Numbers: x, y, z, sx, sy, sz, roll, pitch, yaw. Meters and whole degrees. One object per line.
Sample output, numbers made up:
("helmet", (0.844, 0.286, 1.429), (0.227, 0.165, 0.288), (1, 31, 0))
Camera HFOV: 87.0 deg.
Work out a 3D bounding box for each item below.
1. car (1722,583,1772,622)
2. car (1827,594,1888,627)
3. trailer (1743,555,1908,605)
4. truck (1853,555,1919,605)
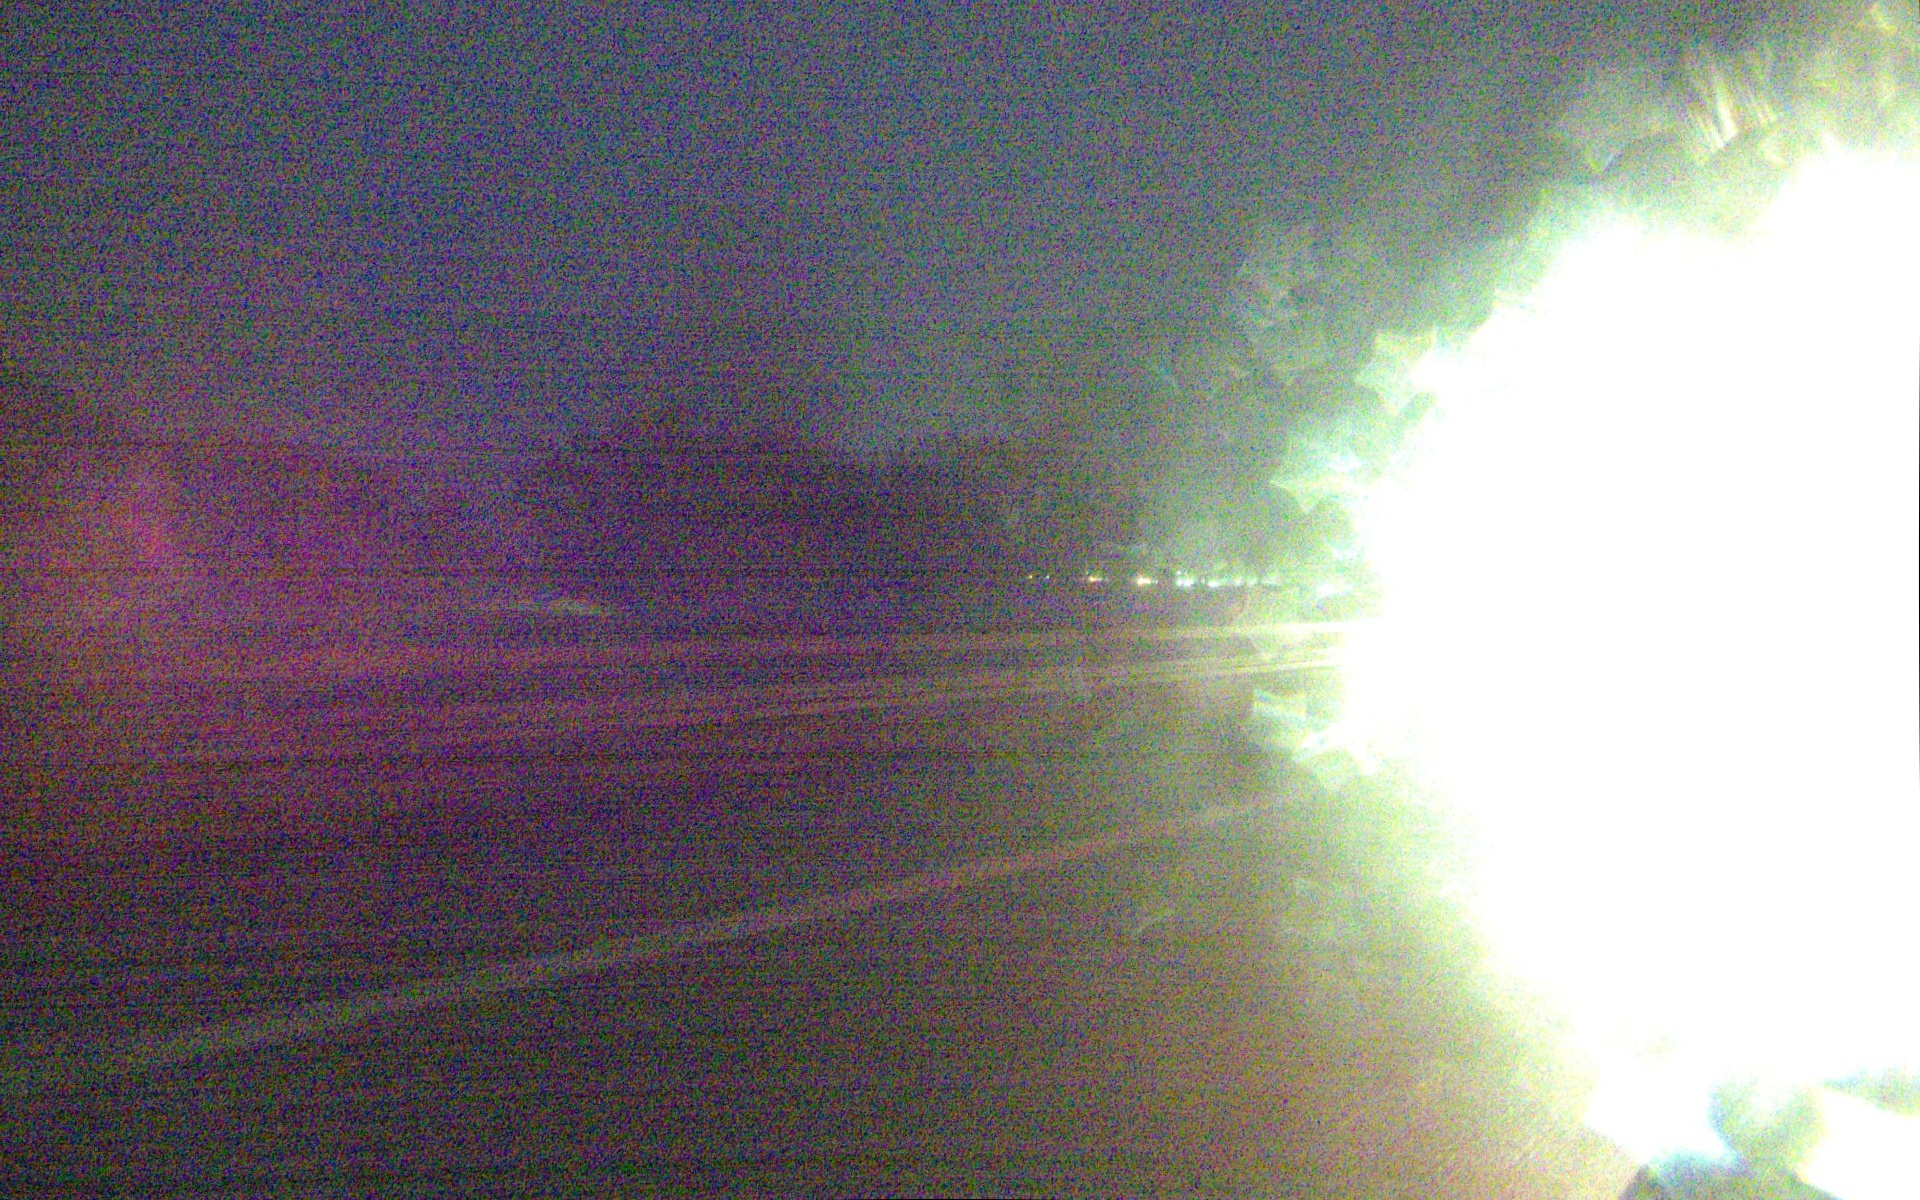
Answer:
("car", (36.911, 0.081, 47.442), (1.734, 1.705, 4.062), (1, 2, 40))
("car", (38.651, 0.415, 43.653), (1.752, 1.328, 4.028), (0, 0, 39))
("trailer", (82.624, -1.948, 97.235), (2.488, 4.390, 13.733), (-1, 1, -9))
("truck", (83.677, -1.807, 90.321), (2.488, 4.390, 5.573), (-1, 1, -9))
